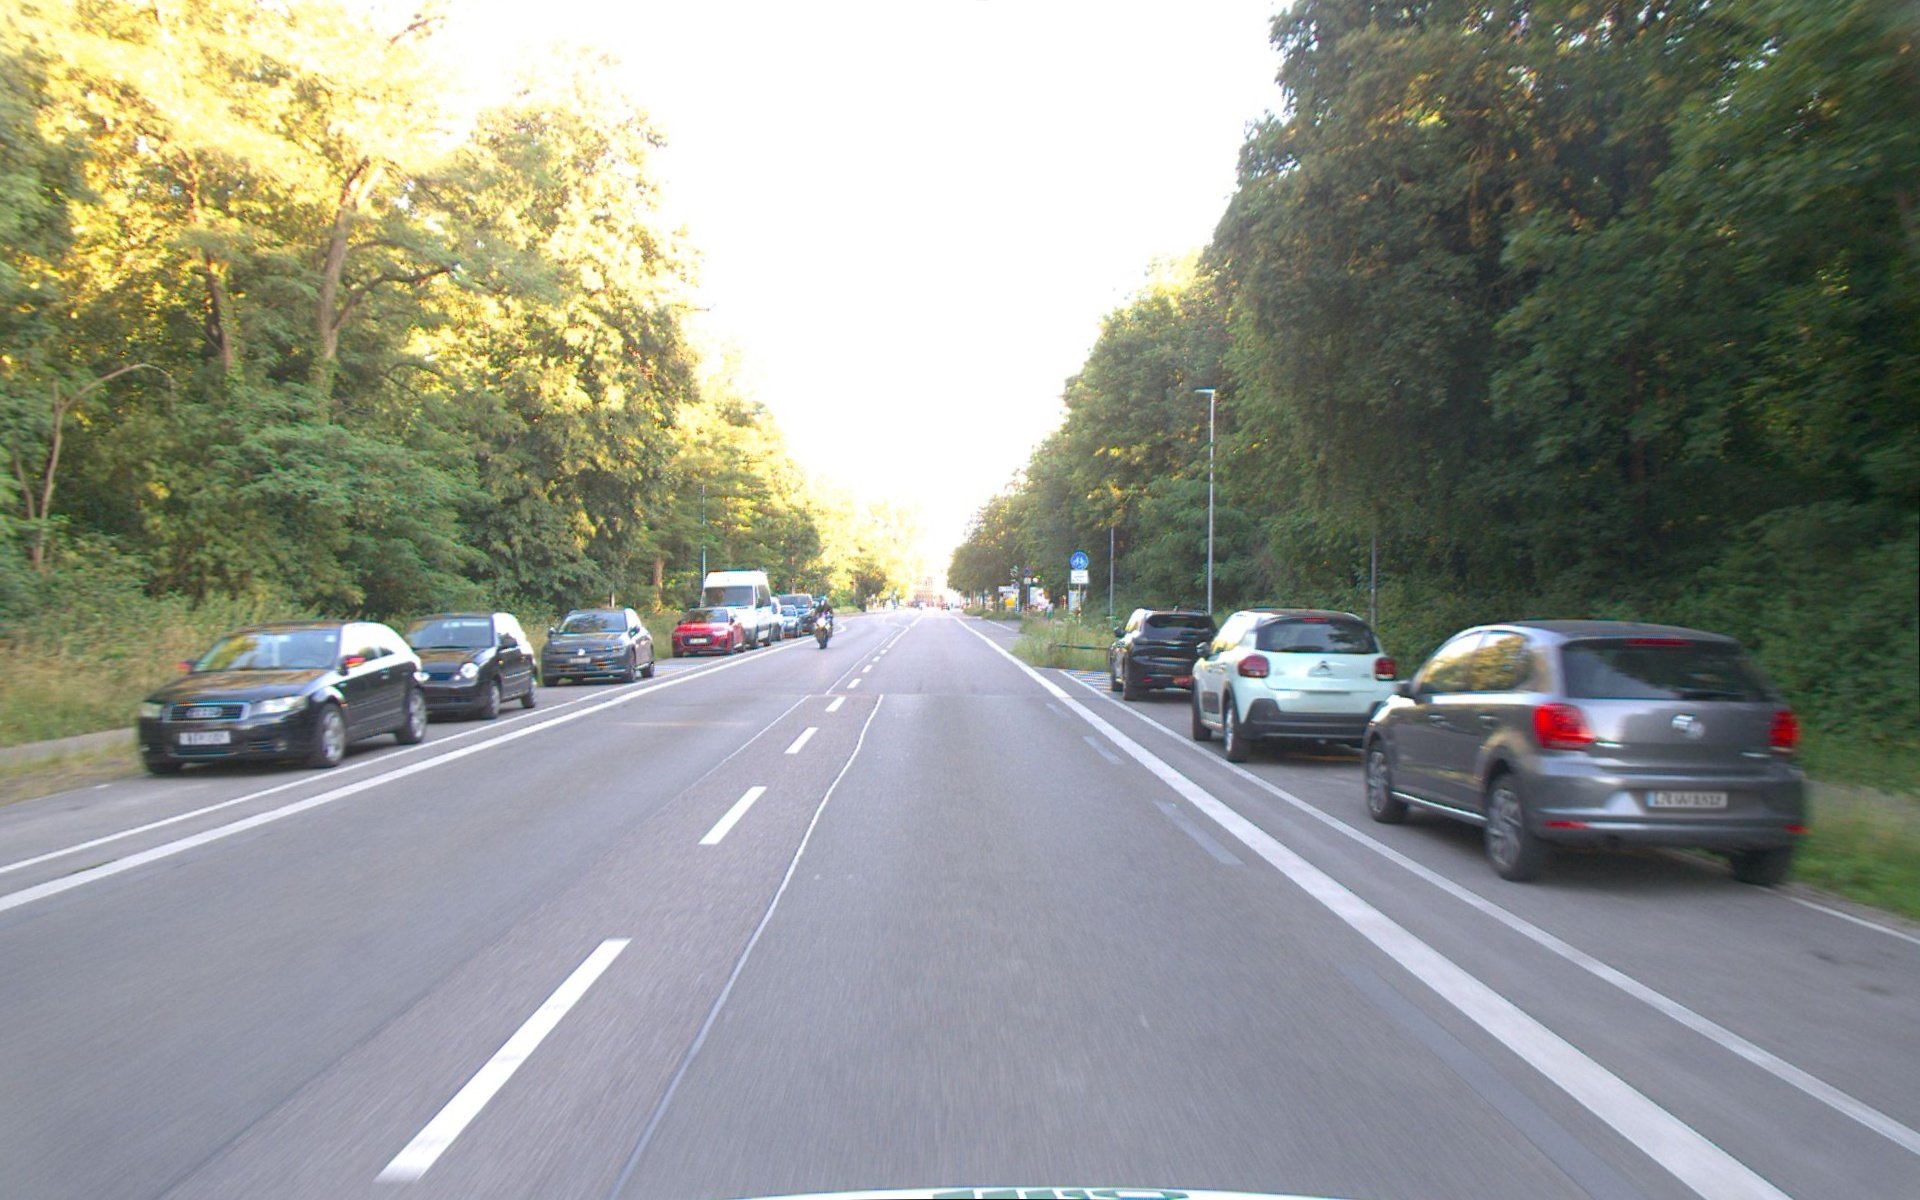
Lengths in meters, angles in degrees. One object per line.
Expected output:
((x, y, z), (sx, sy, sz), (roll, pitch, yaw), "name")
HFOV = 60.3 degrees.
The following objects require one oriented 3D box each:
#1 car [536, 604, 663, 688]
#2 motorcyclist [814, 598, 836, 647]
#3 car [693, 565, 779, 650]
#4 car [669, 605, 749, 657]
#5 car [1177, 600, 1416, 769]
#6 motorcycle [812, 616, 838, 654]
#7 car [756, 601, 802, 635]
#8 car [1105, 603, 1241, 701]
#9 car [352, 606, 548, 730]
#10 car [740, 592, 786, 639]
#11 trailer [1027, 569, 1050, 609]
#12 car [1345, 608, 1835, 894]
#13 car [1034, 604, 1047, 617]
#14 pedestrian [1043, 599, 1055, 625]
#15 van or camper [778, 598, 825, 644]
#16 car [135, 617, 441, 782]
((-7.195, 0.876, 33.415), (1.809, 1.488, 4.226), (-2, 0, -3), "car")
((-4.341, 0.708, 53.151), (0.591, 1.556, 0.995), (0, 0, 1), "motorcyclist")
((-7.659, 0.257, 57.266), (2.037, 2.652, 7.087), (-3, 0, -1), "car")
((-7.532, 0.901, 49.963), (1.681, 1.455, 4.387), (-1, 0, 0), "car")
((3.425, 0.792, 17.567), (1.654, 1.573, 4.111), (0, 0, -1), "car")
((-4.334, 1.114, 53.034), (0.598, 1.146, 1.962), (0, 0, 2), "motorcycle")
((-8.128, 0.792, 74.699), (1.636, 1.458, 4.446), (-2, 0, -1), "car")
((3.448, 0.796, 27.442), (1.676, 1.470, 4.121), (1, 0, -1), "car")
((-7.096, 0.890, 23.366), (1.677, 1.535, 3.655), (-2, 0, -2), "car")
((-8.260, 0.621, 69.738), (1.654, 1.890, 4.384), (0, 0, -3), "car")
((11.135, -1.566, 234.992), (2.958, 5.558, 7.934), (0, 0, 0), "trailer")
((3.797, 0.807, 10.727), (1.547, 1.472, 3.959), (0, 0, -2), "car")
((10.762, 1.395, 221.610), (1.733, 1.611, 4.820), (1, -1, 3), "car")
((6.280, 0.859, 117.017), (0.821, 1.782, 0.726), (0, -1, 0), "pedestrian")
((-7.740, 1.008, 81.329), (1.962, 2.053, 5.458), (-3, 0, -3), "van or camper")
((-6.742, 0.923, 17.055), (1.565, 1.419, 4.050), (-1, 0, -2), "car")
